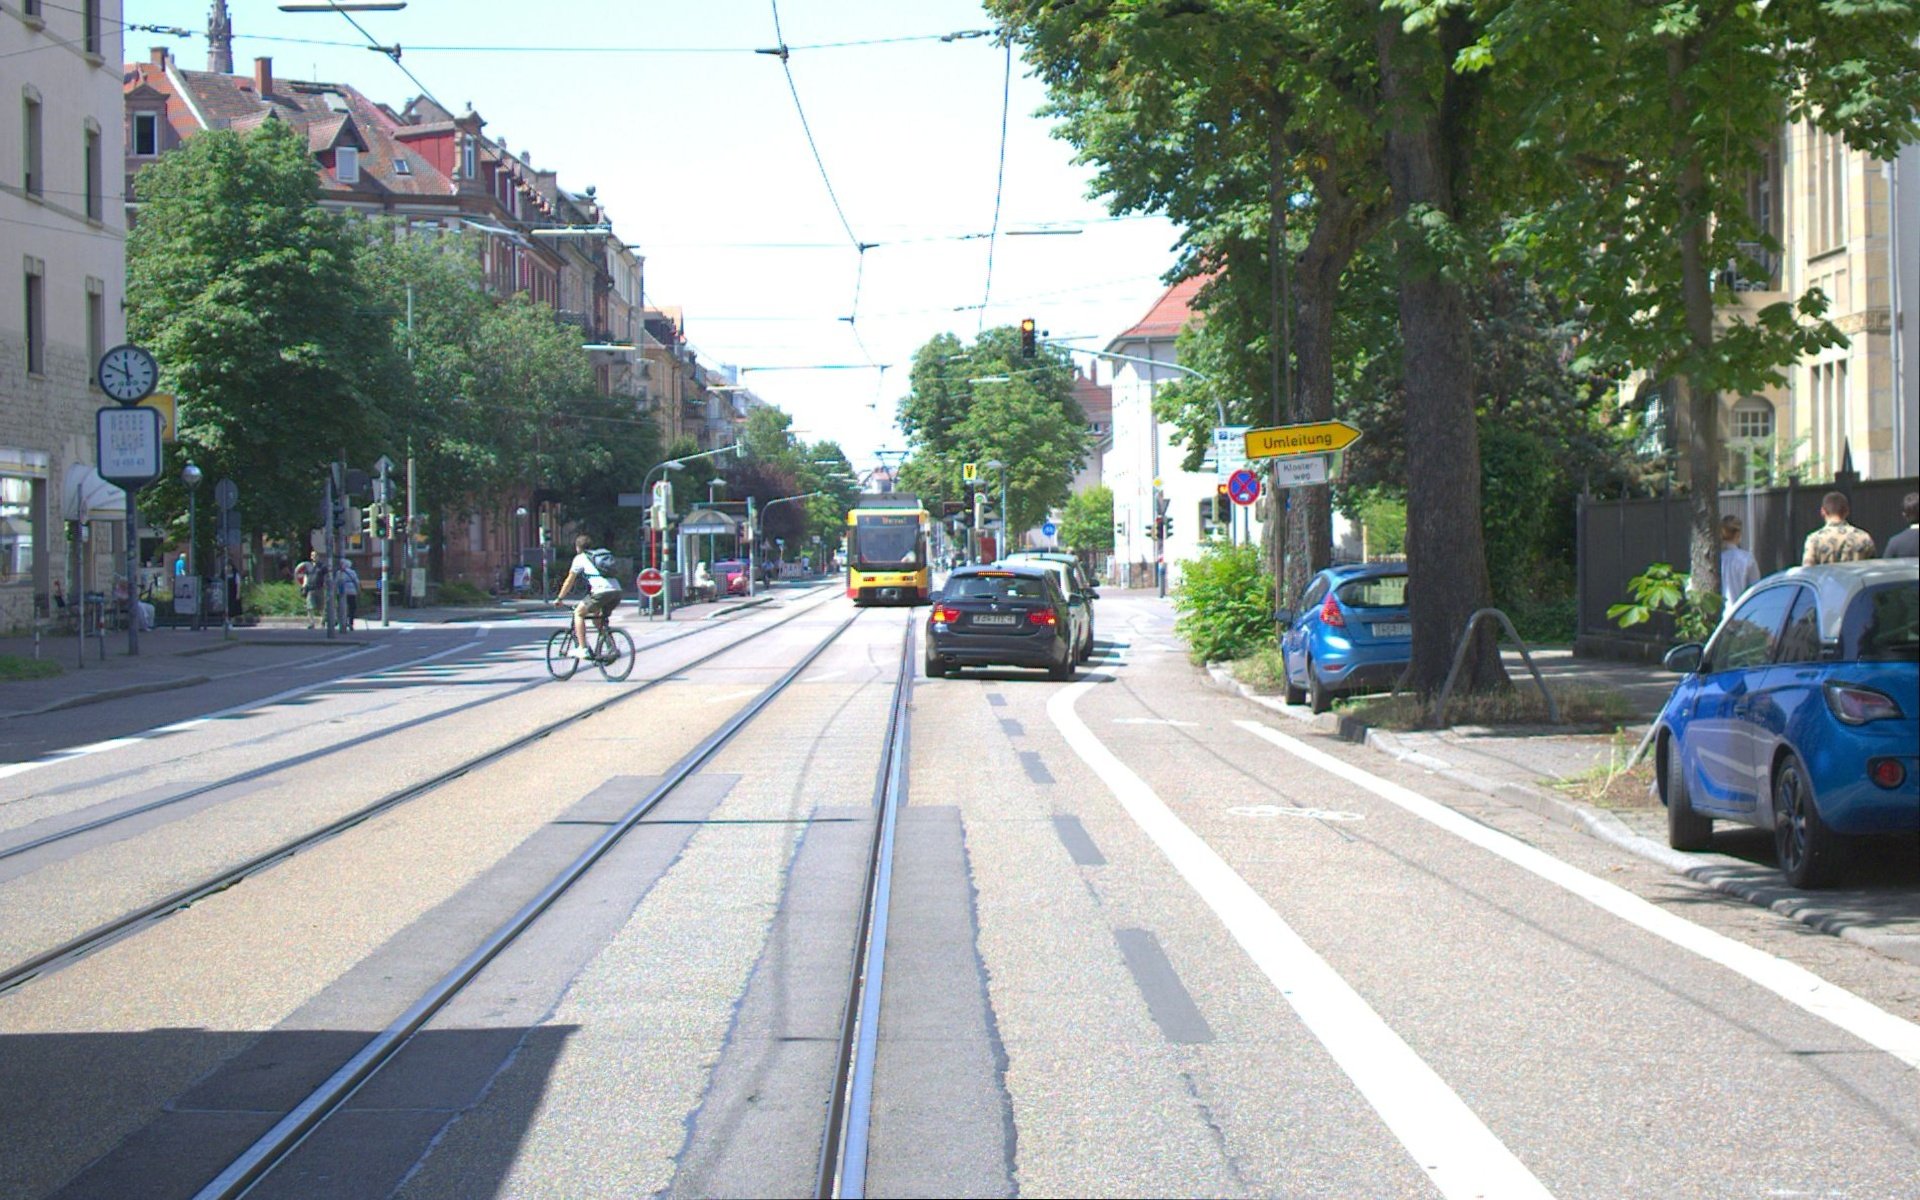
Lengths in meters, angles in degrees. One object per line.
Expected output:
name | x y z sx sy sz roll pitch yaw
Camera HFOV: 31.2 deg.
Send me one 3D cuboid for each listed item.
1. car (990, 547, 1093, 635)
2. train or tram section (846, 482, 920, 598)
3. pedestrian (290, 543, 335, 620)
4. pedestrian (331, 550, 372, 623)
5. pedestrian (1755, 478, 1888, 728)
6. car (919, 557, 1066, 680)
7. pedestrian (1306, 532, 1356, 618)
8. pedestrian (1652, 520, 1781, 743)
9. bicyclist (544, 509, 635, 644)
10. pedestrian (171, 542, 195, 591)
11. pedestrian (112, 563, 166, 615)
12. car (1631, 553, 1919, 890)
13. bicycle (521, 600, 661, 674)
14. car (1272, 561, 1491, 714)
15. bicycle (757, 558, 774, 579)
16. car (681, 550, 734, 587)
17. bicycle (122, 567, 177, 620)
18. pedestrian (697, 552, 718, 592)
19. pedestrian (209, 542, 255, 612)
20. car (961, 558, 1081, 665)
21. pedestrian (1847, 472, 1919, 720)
car | 1.510 -0.194 62.470 1.691 1.508 3.821 1 1 4
train or tram section | -2.387 -1.901 108.230 2.190 3.470 8.846 -1 1 -1
pedestrian | -15.916 -0.466 84.541 0.900 1.884 1.165 0 1 -1
pedestrian | -14.354 -0.323 81.074 0.916 1.717 0.840 -1 1 -8
pedestrian | 6.241 0.013 24.940 0.704 1.770 0.947 -1 1 -1
car | 0.447 0.192 43.554 1.722 1.404 4.565 2 1 1
pedestrian | 7.209 -0.491 66.859 0.857 1.640 0.836 -1 1 1
pedestrian | 5.713 0.225 26.002 0.766 1.645 0.974 -1 1 2
bicyclist | -4.611 -0.288 42.753 0.756 1.657 0.830 1 0 -43
pedestrian | -28.869 -1.261 127.713 0.738 1.805 0.641 -1 1 -26
pedestrian | -17.291 -0.238 72.400 0.915 1.074 0.883 -1 1 1
car | 4.513 0.509 16.834 1.691 1.448 3.474 -1 1 -1
bicycle | -4.598 0.448 42.766 0.753 0.815 1.819 -1 3 -44
car | 4.254 0.340 35.157 1.677 1.438 3.721 -1 1 -1
bicycle | -10.044 -1.630 177.311 0.729 1.098 1.715 -1 1 1
car | -10.204 -1.292 139.154 1.822 1.408 4.429 -1 1 -1
bicycle | -17.920 -0.144 75.996 0.543 1.125 1.682 -1 -1 -37
pedestrian | -7.922 -0.875 107.740 0.613 1.238 0.628 -1 1 -6
pedestrian | -17.109 -0.540 80.824 0.860 1.630 1.026 -1 1 -1
car | 0.918 0.140 50.548 1.685 1.479 3.684 -1 1 2
pedestrian | 6.960 -0.039 24.867 0.787 1.755 1.052 -1 1 -1
